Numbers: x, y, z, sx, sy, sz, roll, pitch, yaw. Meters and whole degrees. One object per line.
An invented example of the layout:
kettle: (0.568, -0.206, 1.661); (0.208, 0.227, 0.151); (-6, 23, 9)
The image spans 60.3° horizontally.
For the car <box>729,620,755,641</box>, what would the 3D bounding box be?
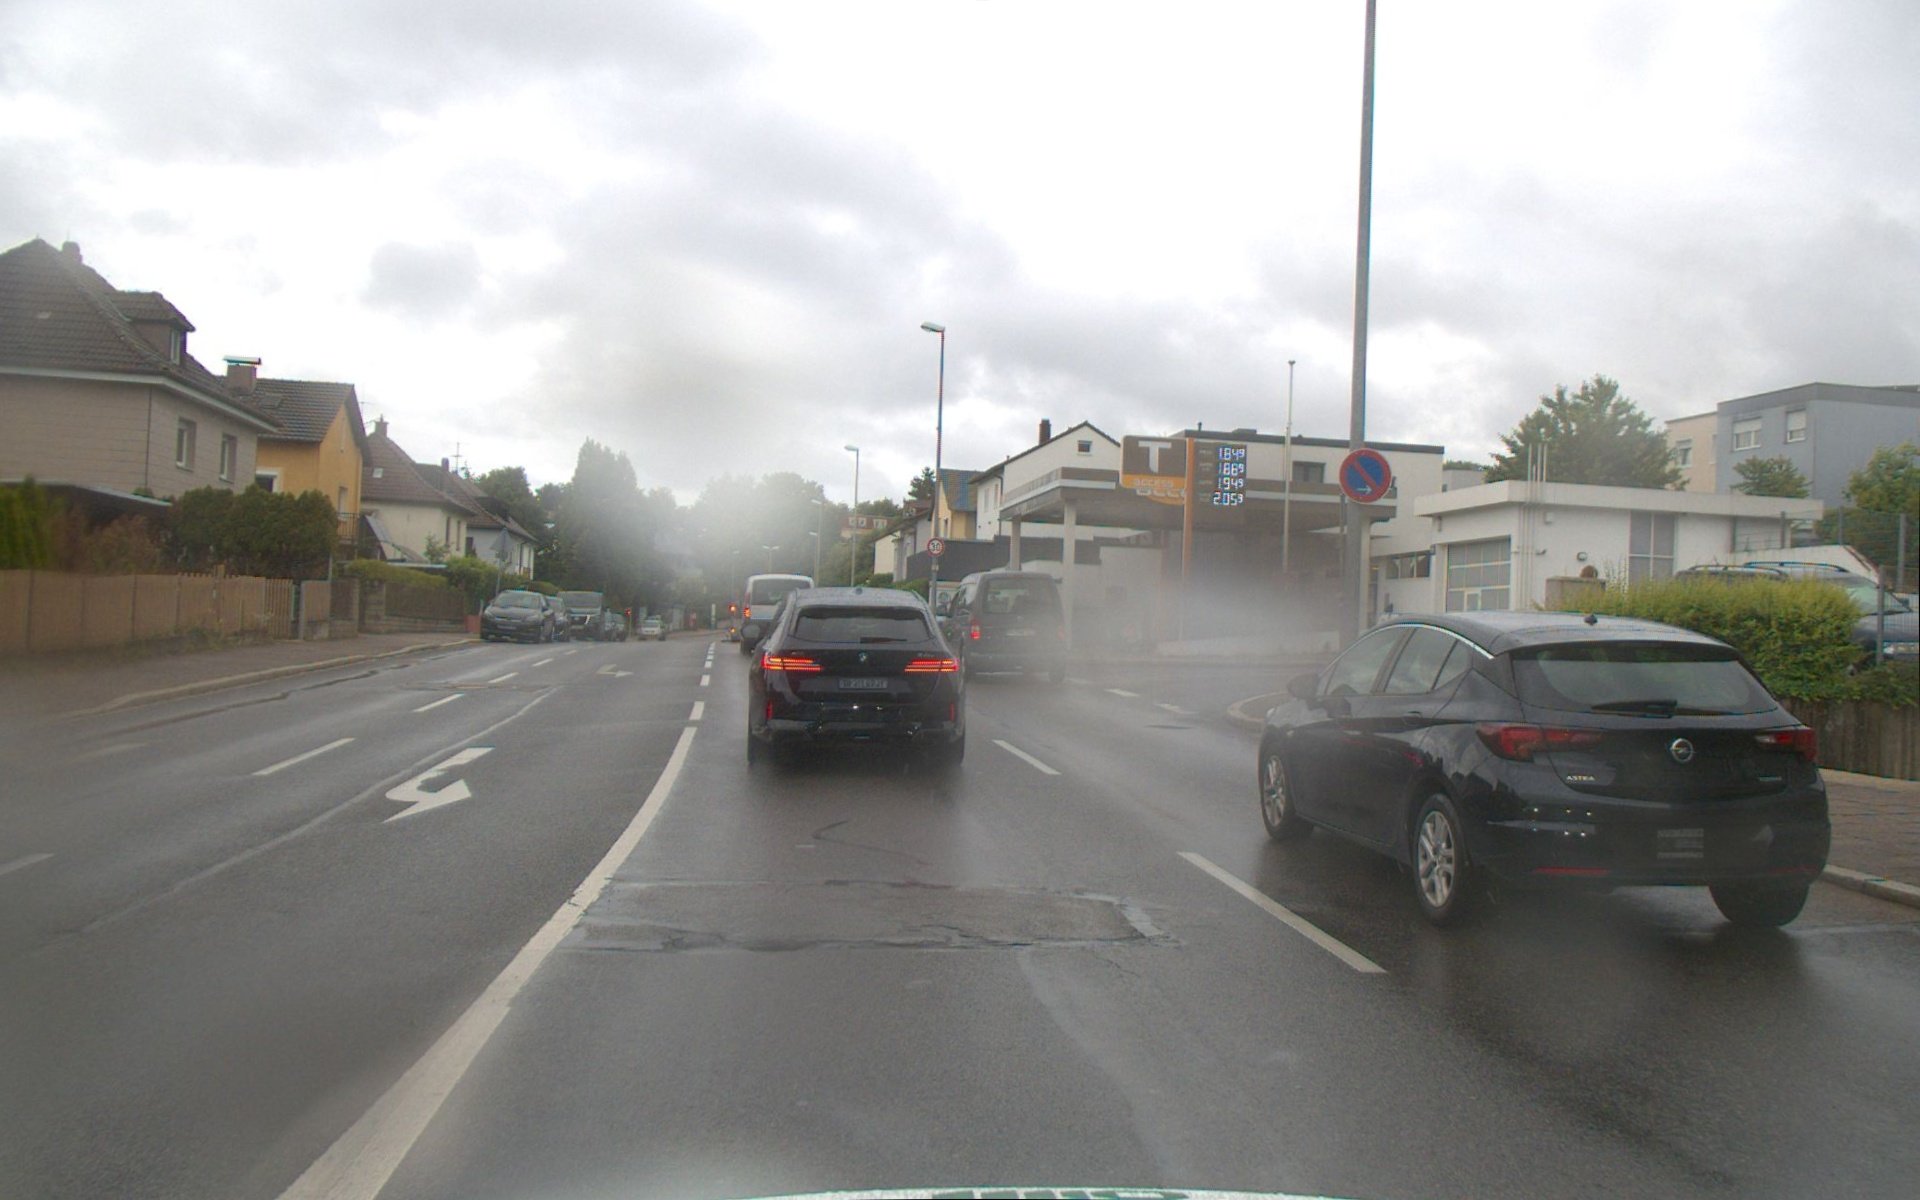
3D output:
car: (-19.032, 2.693, 144.705); (1.954, 1.771, 3.996); (2, -2, -4)

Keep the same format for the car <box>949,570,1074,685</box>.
car: (0.816, 0.502, 28.478); (1.802, 1.798, 3.997); (2, -2, -3)

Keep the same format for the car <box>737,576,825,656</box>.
car: (-4.299, 0.418, 39.691); (1.955, 1.768, 3.994); (2, -2, -7)

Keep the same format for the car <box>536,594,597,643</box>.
car: (-13.354, 0.665, 56.285); (1.718, 1.543, 4.516); (2, -2, -10)

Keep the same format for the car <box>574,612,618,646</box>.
car: (-17.854, 1.446, 81.335); (1.724, 1.560, 4.278); (2, -2, -8)

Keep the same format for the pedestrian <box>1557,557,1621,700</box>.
pedestrian: (9.236, 0.419, 24.290); (0.701, 2.049, 0.614); (1, -2, 1)

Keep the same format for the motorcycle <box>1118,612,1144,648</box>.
motorcycle: (5.253, 0.923, 50.813); (0.453, 1.074, 1.388); (2, -2, -8)

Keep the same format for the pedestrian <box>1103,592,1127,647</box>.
pedestrian: (4.778, 0.603, 51.055); (0.598, 1.685, 0.584); (2, -2, -8)

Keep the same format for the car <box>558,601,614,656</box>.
car: (-14.967, 1.166, 66.362); (1.878, 2.038, 5.074); (2, -2, -10)

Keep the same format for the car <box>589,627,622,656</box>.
car: (-18.700, 2.172, 87.363); (1.523, 1.456, 4.004); (2, -2, -10)

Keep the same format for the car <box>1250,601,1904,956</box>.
car: (2.999, 0.772, 9.041); (1.723, 1.475, 3.995); (2, 0, -6)

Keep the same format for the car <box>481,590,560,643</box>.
car: (-13.128, 0.540, 49.608); (1.717, 1.465, 4.122); (2, -2, -7)

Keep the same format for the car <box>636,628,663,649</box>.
car: (-25.063, 3.128, 133.503); (1.849, 1.613, 3.992); (2, -2, -8)

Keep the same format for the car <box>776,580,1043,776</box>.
car: (-0.608, 0.682, 15.114); (1.956, 1.510, 3.992); (2, -2, -8)
